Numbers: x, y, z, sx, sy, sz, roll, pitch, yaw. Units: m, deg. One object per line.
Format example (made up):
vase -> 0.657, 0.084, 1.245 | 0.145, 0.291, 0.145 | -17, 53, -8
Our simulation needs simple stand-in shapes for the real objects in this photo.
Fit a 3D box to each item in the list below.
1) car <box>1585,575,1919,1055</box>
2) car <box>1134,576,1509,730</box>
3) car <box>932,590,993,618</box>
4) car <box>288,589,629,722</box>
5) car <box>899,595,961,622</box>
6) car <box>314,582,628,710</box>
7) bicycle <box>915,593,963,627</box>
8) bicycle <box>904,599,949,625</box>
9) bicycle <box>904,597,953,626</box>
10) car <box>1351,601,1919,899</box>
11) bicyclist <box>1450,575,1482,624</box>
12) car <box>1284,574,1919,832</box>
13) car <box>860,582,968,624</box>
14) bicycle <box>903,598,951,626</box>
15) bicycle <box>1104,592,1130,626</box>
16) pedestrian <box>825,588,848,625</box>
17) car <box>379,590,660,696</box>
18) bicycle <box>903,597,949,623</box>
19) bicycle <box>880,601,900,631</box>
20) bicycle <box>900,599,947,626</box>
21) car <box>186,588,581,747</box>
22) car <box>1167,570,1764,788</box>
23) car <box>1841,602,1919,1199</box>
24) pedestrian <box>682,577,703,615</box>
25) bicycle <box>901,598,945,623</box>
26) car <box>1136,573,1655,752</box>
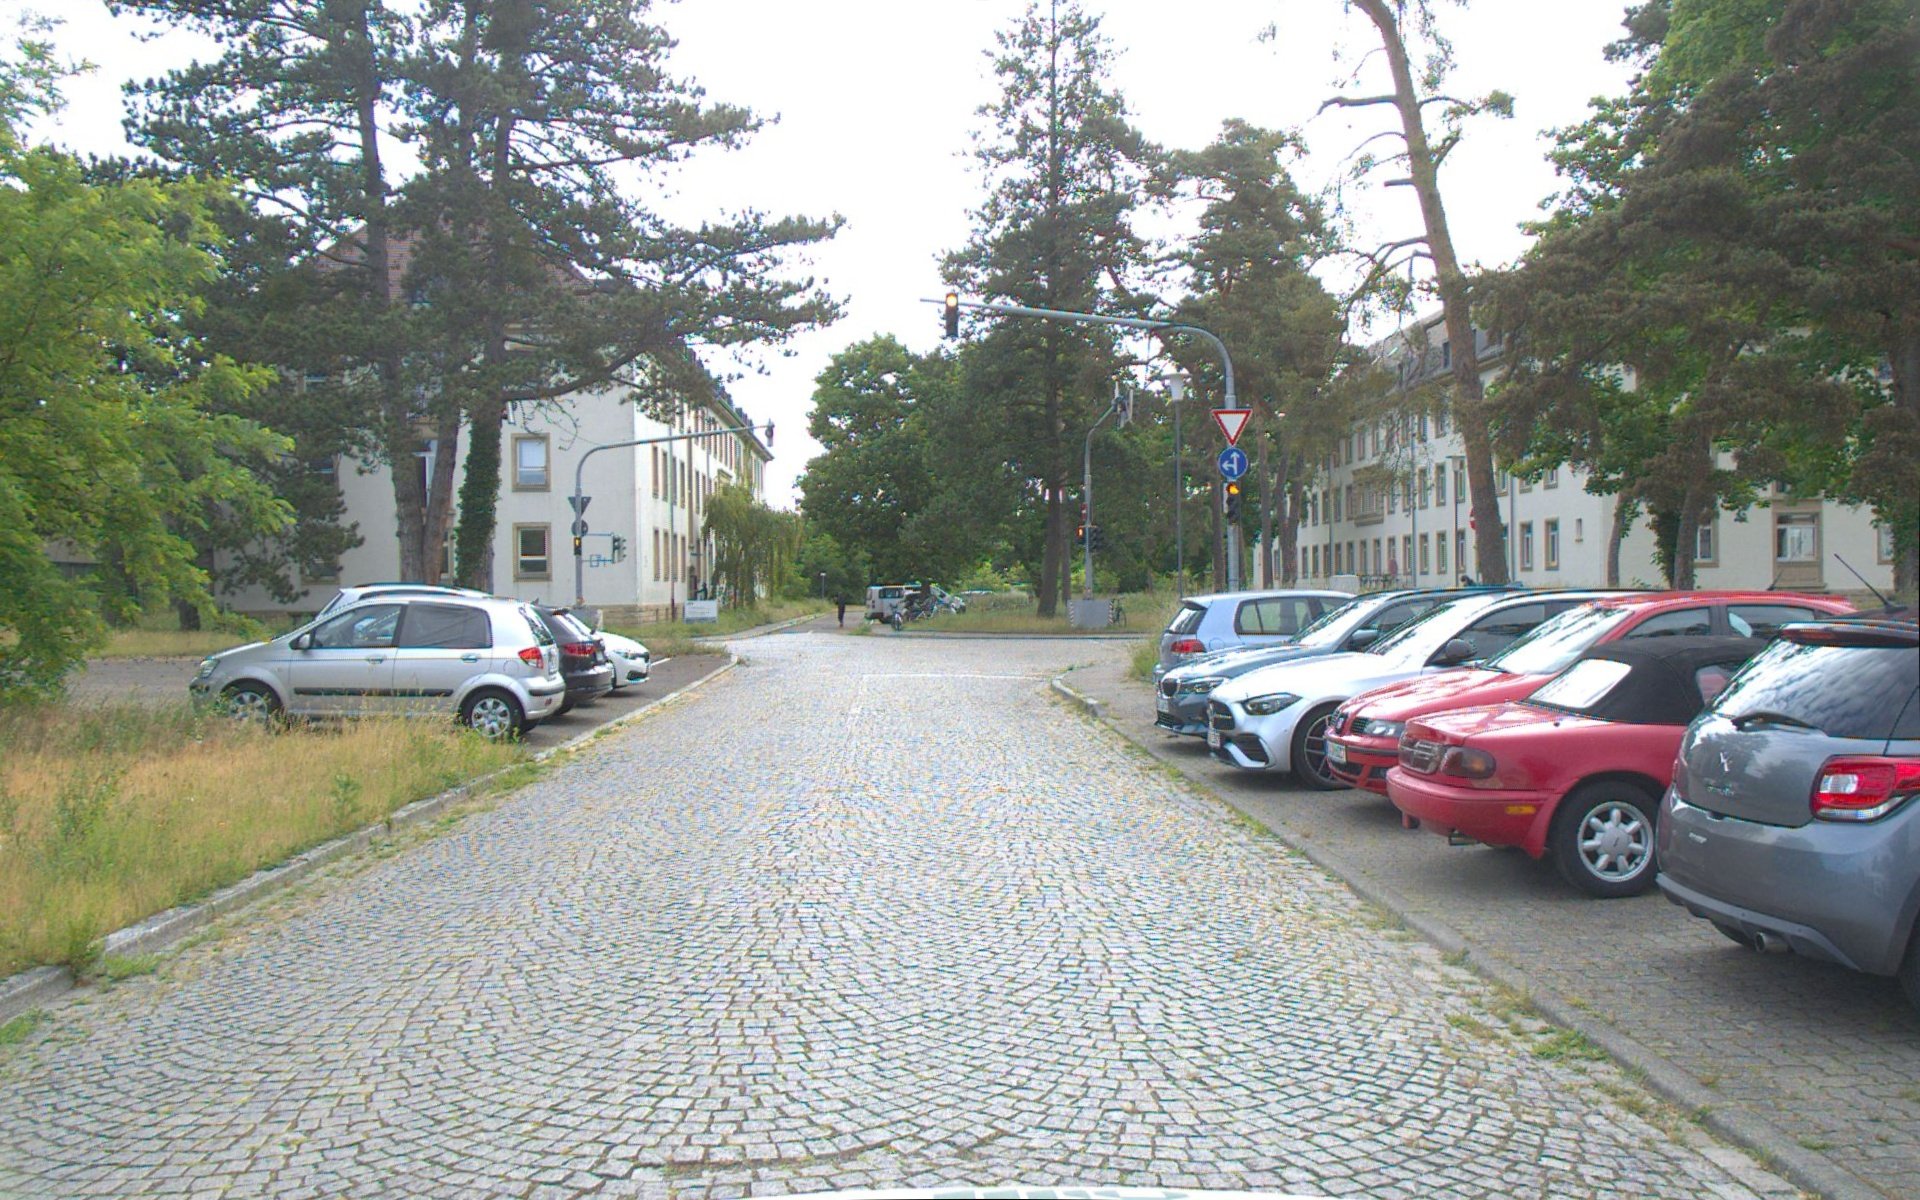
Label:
car -> 4.647, 0.625, 6.343 | 3.786, 1.497, 1.757 | -3, 0, -4
car -> 4.030, 0.568, 18.840 | 3.847, 1.503, 1.642 | -3, 0, -1
car -> 0.124, 0.211, 89.513 | 3.169, 1.441, 1.723 | -1, 0, -5
car -> -6.018, 0.659, 20.171 | 3.673, 1.453, 1.581 | 2, 0, -6
car -> -1.500, 0.427, 82.112 | 2.949, 1.290, 1.532 | -1, 0, -8
car -> -6.683, 0.615, 22.928 | 3.871, 1.590, 1.648 | 2, 0, -6
bicycle -> -0.875, 0.405, 68.954 | 1.919, 1.408, 0.587 | -1, 0, -10
bicycle -> -1.441, 0.513, 70.931 | 1.936, 1.088, 0.581 | -1, 0, -33
bicycle -> -1.281, 0.474, 67.470 | 1.919, 1.152, 0.587 | -1, 0, -10
car -> 4.255, 0.715, 8.954 | 3.786, 1.257, 1.757 | -3, 0, -4
bicyclist -> 15.117, -0.008, 49.394 | 0.734, 1.435, 0.605 | -1, 0, -3
car -> 4.559, 0.638, 11.453 | 4.177, 1.441, 1.870 | -3, 0, -3
car -> -2.394, 0.145, 85.514 | 5.266, 1.958, 2.019 | -2, 0, -12
bicycle -> -1.369, 0.497, 68.099 | 1.919, 1.136, 0.587 | -1, 0, -10
bicycle -> 5.281, 0.298, 55.653 | 0.574, 1.125, 1.960 | -1, 0, -2
pedestrian -> -5.591, 0.300, 74.912 | 0.731, 1.647, 0.768 | -1, 0, -31
car -> -6.699, 0.641, 25.465 | 3.869, 1.446, 1.649 | 2, 0, -3
bicycle -> -1.473, 0.447, 72.285 | 1.932, 1.088, 0.583 | -1, 0, -28
bicycle -> -2.723, 0.609, 64.205 | 0.592, 1.152, 1.958 | -1, 0, -8
bicycle -> -1.534, 0.518, 69.576 | 1.936, 1.088, 0.581 | -1, 0, -33
car -> -6.009, 0.691, 17.572 | 3.631, 1.505, 1.581 | 2, 0, -6
car -> 4.102, 0.582, 13.702 | 4.344, 1.441, 1.866 | -3, 0, -12
car -> 4.180, 0.680, 3.398 | 3.785, 1.497, 1.757 | -3, 0, -3
pedestrian -> -13.369, -0.219, 82.663 | 0.767, 1.869, 0.732 | -1, 0, -34
bicycle -> -1.671, 0.489, 74.609 | 1.932, 1.088, 0.583 | -1, 0, -28
car -> 4.204, 0.567, 16.395 | 4.590, 1.441, 1.869 | -3, 0, -5
